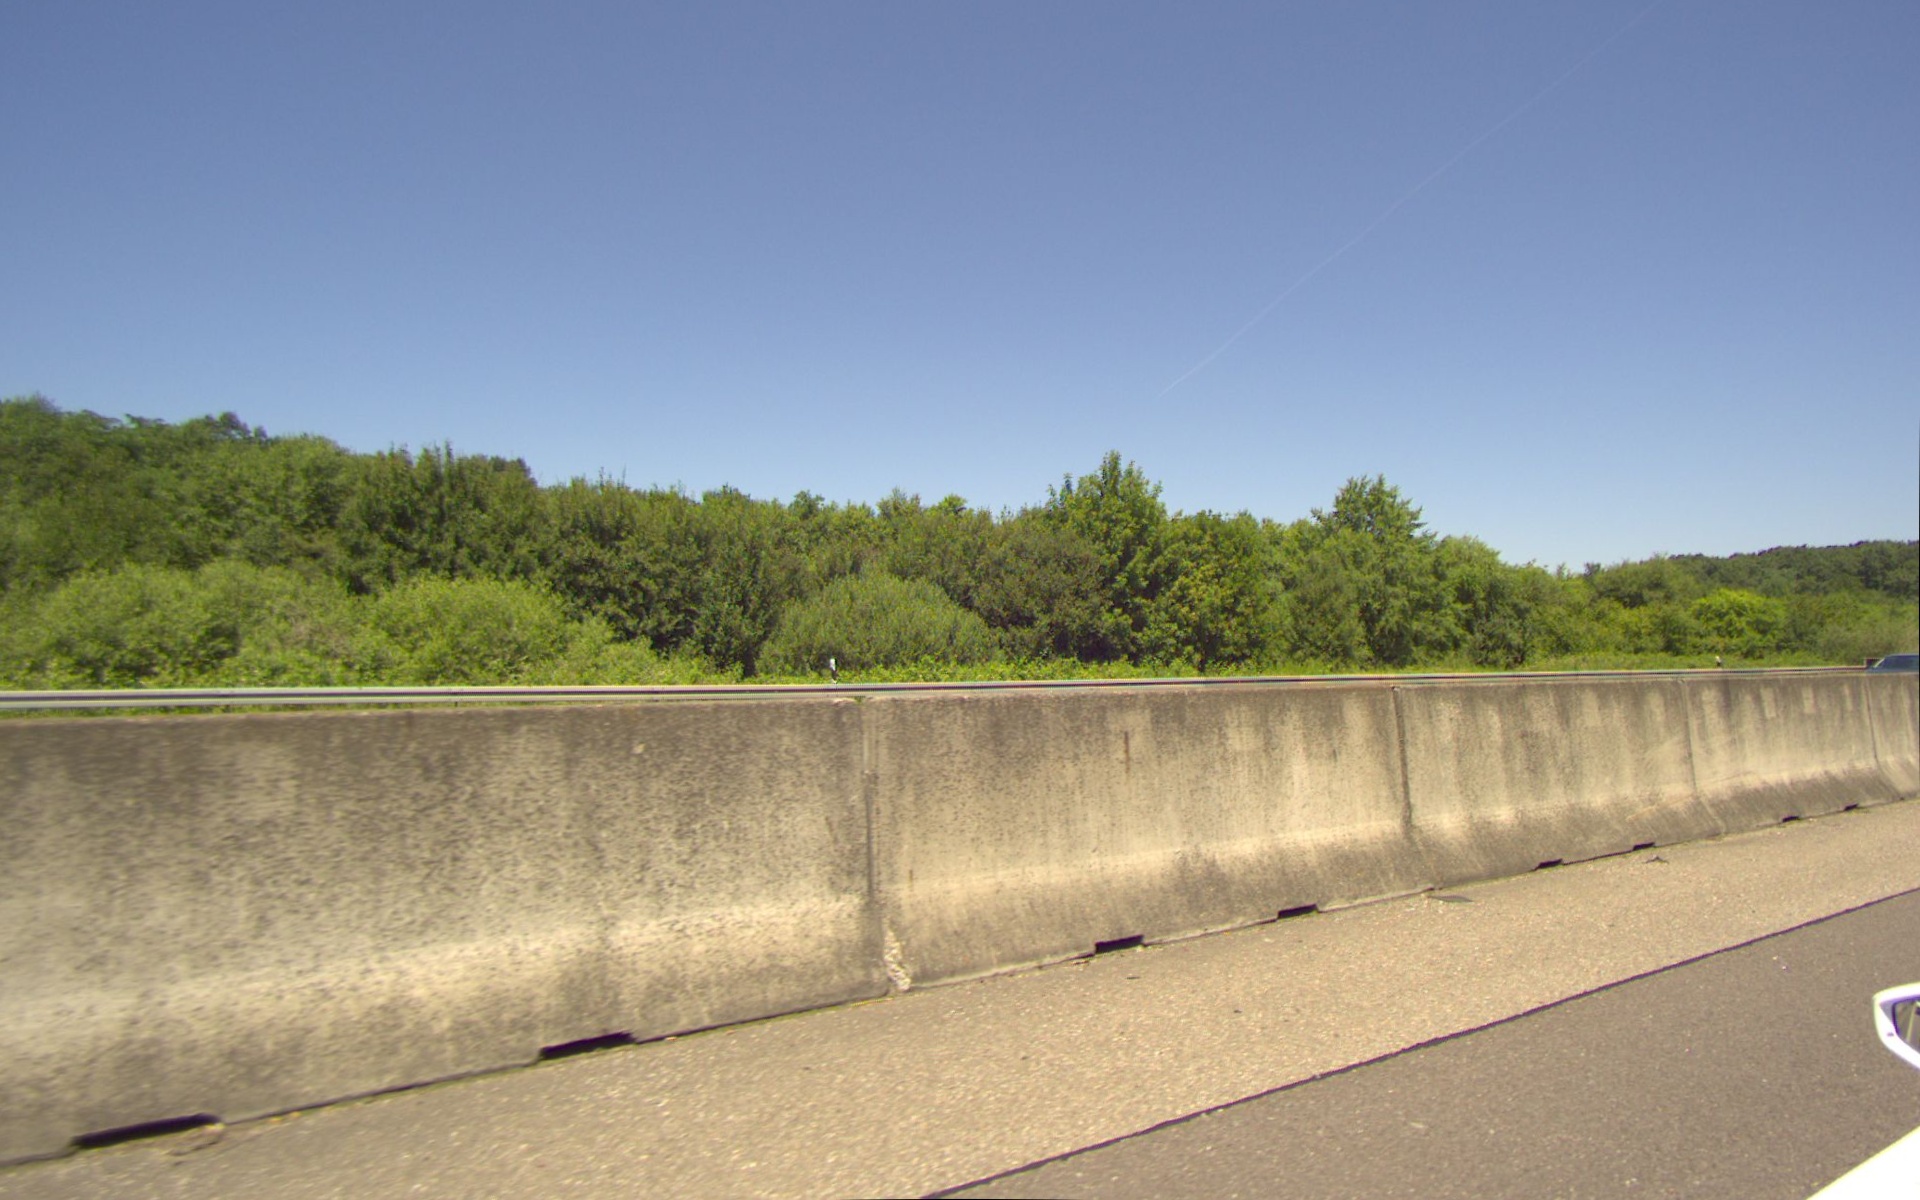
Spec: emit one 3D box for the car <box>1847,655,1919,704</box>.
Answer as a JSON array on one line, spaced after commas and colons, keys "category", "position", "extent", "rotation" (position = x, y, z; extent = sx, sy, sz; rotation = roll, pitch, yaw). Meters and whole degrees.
[{"category": "car", "position": [31.425, 2.604, 33.375], "extent": [3.953, 1.491, 1.762], "rotation": [2, -3, -30]}]
